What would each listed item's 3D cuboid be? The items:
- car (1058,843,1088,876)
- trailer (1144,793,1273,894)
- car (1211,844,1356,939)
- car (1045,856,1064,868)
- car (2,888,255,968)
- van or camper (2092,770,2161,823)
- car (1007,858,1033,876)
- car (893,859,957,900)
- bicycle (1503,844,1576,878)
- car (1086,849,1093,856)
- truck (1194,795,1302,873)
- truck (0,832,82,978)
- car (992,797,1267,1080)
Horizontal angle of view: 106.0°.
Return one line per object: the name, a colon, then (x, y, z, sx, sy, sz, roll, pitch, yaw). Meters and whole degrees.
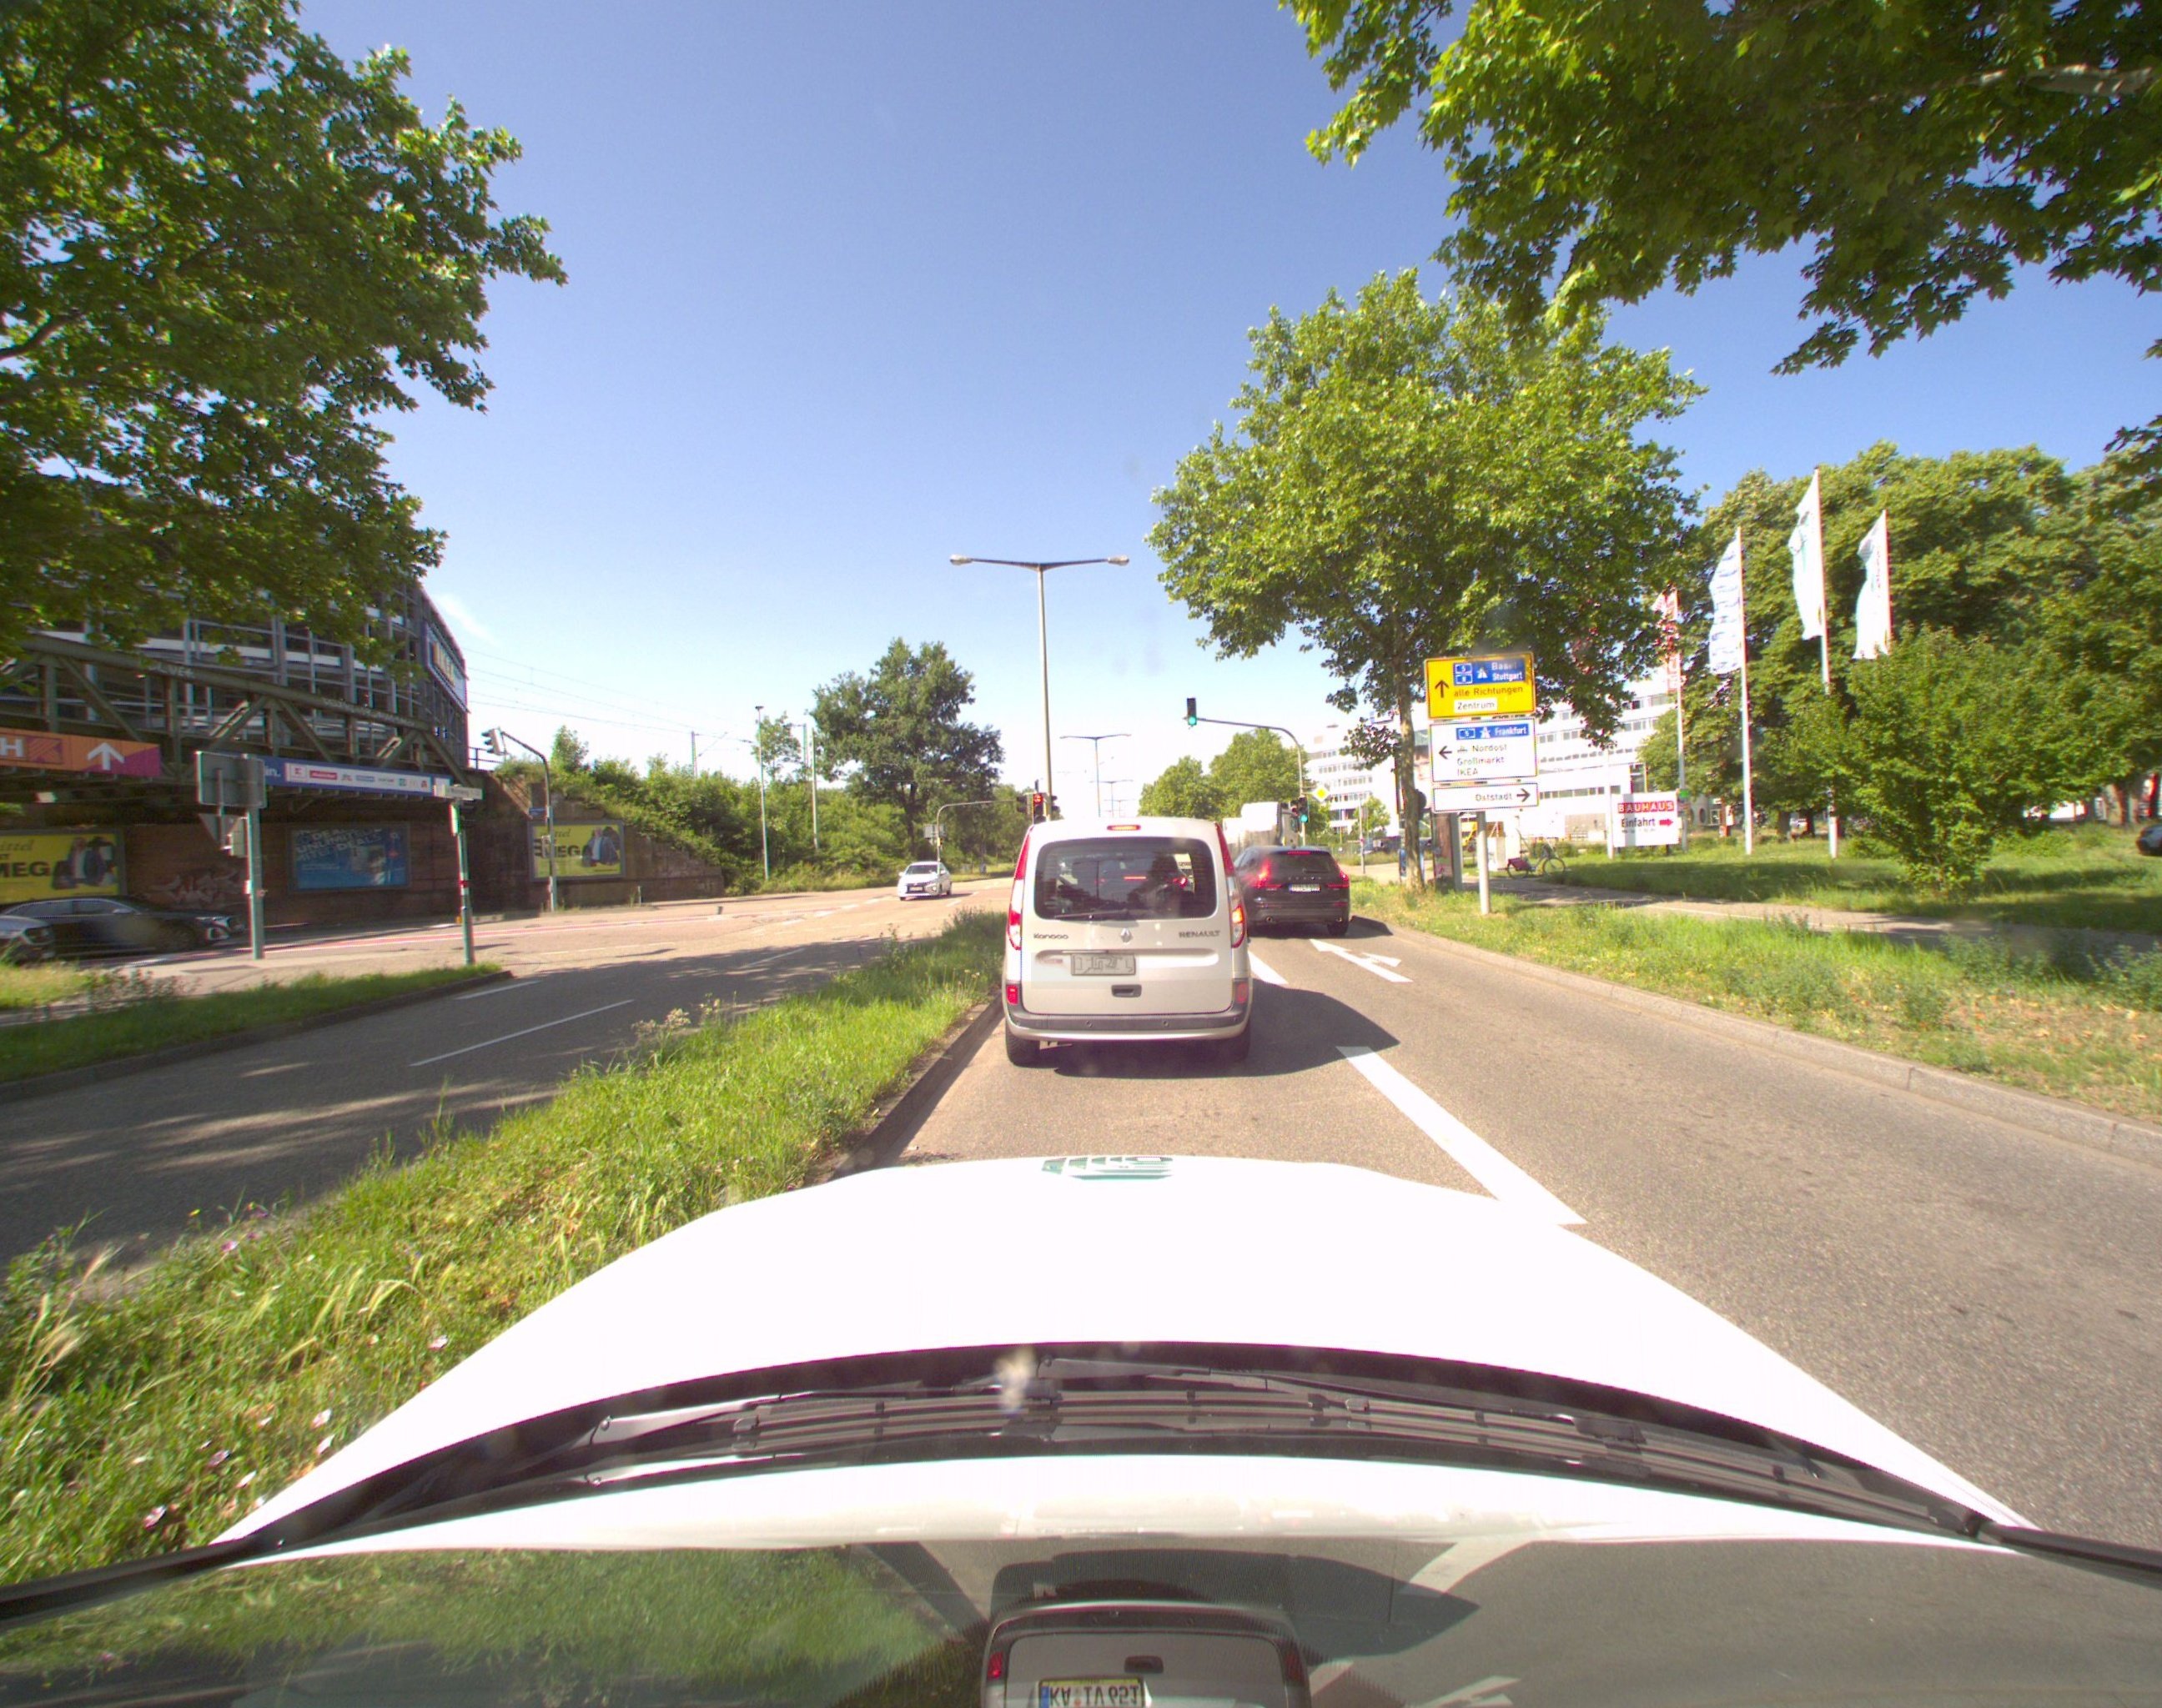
car: (-0.637, 0.500, 69.835, 1.984, 2.607, 5.140, -3, -1, 5)
trailer: (6.014, -0.318, 35.637, 2.875, 3.622, 12.751, -1, -1, 21)
car: (3.768, 0.642, 15.974, 1.868, 1.591, 4.435, 0, 0, 2)
car: (-3.427, 1.070, 107.679, 1.984, 1.540, 4.241, -3, -1, 5)
car: (-25.762, 1.925, 22.275, 4.015, 1.646, 1.885, -4, 1, -32)
van or camper: (63.645, -3.400, 46.508, 2.007, 2.942, 7.213, 0, -1, -32)
car: (-6.044, 1.276, 81.150, 1.902, 1.641, 3.742, -3, -1, 5)
car: (-6.410, 1.013, 33.885, 1.693, 1.508, 4.002, -2, 0, 2)
bicycle: (15.011, 0.240, 26.713, 1.985, 1.014, 0.624, -3, 0, 18)
car: (2.731, -0.426, 251.108, 1.880, 2.014, 4.004, 0, -1, 4)
truck: (8.769, -0.918, 42.053, 2.882, 3.643, 7.235, -1, -1, 34)
truck: (-26.319, 1.281, 16.687, 6.890, 3.105, 2.196, -4, 1, -32)
car: (0.376, 0.569, 7.317, 1.779, 1.838, 4.001, 0, -1, 2)
